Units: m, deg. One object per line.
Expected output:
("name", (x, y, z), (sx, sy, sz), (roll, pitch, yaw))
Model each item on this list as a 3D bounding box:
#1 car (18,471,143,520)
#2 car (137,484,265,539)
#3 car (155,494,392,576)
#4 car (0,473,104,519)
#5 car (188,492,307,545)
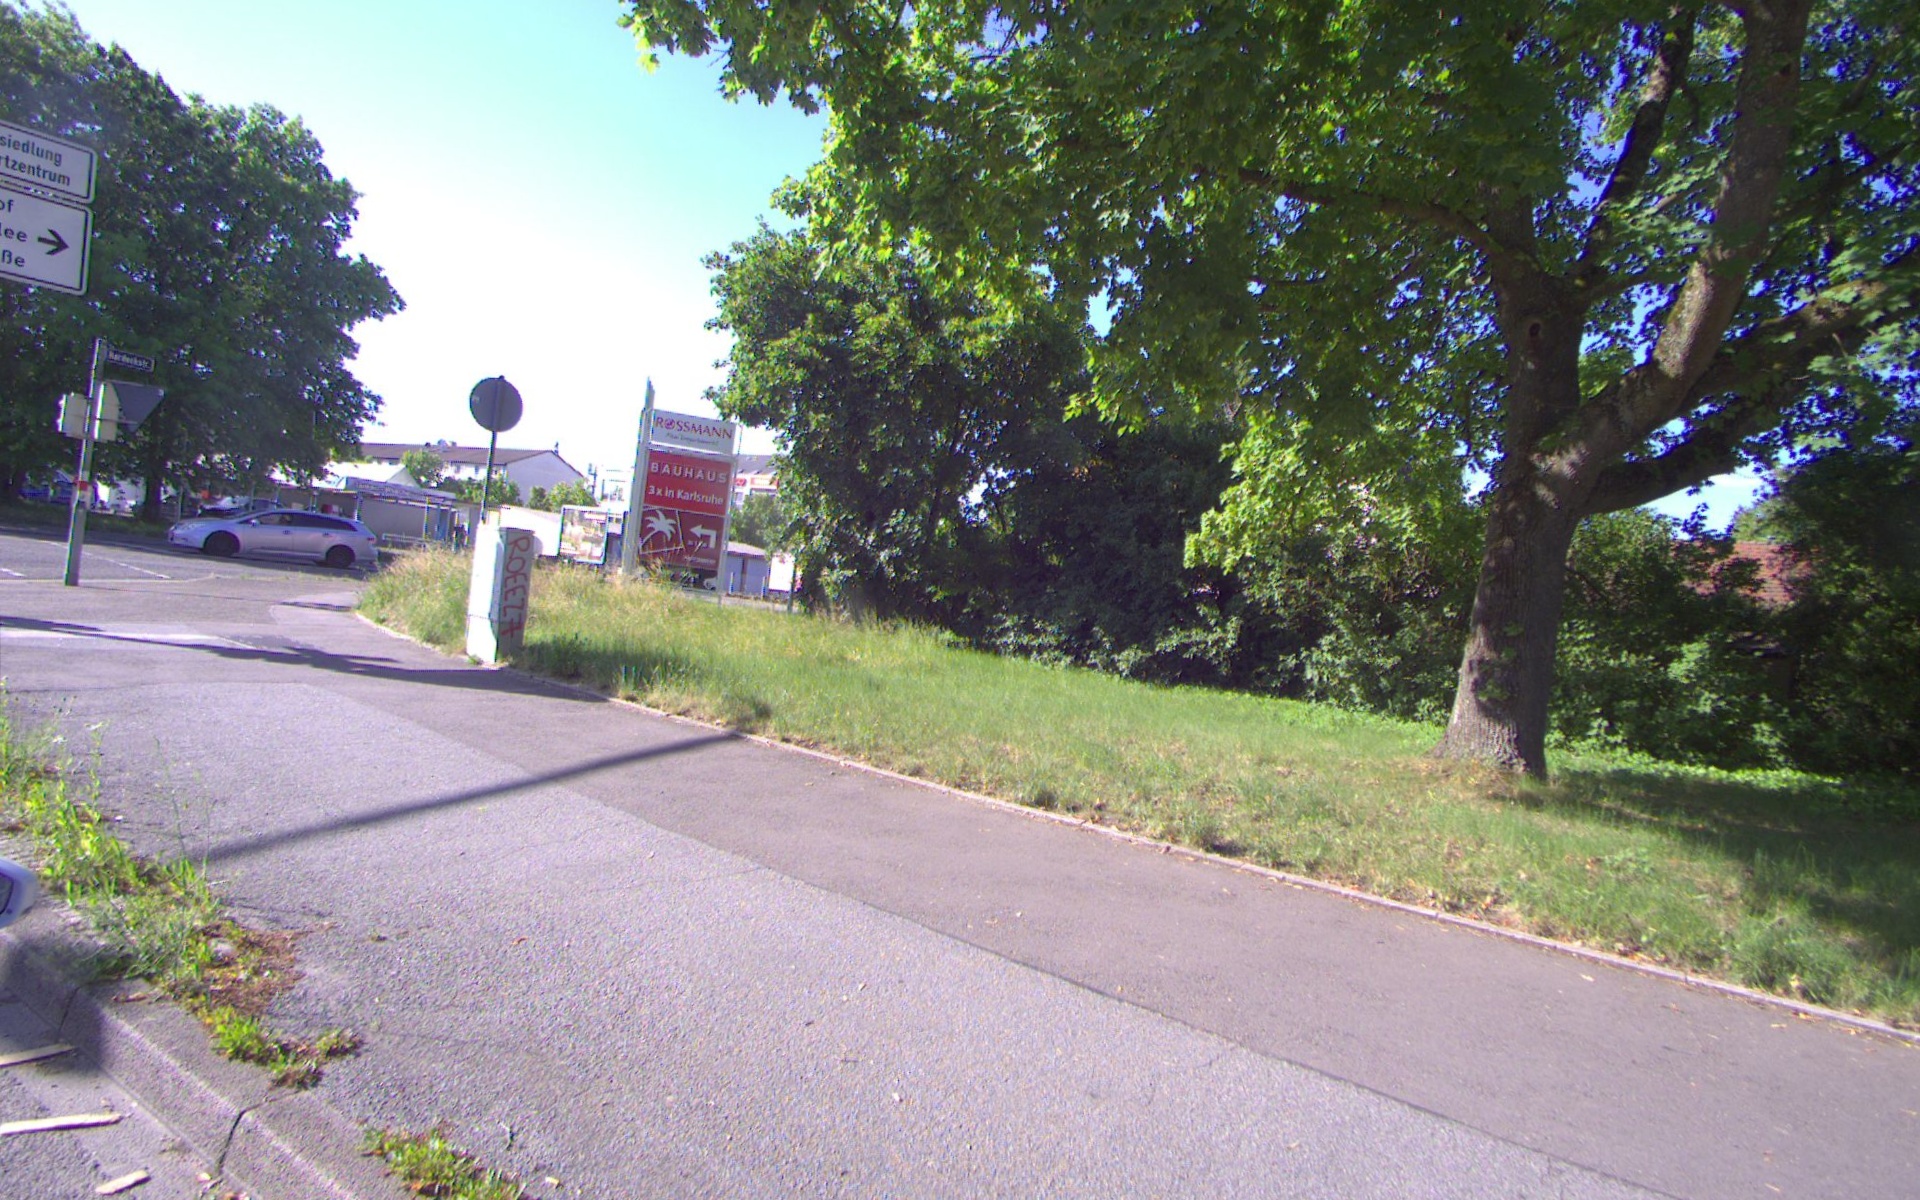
("car", (-39.177, -4.632, 44.929), (1.712, 1.537, 3.902), (7, 0, 9))
("car", (-32.339, -3.719, 43.004), (1.962, 1.772, 4.000), (7, 1, 9))
("car", (-18.644, -1.734, 27.526), (1.973, 1.504, 4.994), (7, 0, 43))
("car", (-41.988, -4.774, 46.153), (1.712, 1.537, 3.902), (7, 0, 9))
("car", (-30.294, -3.432, 42.915), (1.712, 1.701, 4.001), (7, 0, 9))
